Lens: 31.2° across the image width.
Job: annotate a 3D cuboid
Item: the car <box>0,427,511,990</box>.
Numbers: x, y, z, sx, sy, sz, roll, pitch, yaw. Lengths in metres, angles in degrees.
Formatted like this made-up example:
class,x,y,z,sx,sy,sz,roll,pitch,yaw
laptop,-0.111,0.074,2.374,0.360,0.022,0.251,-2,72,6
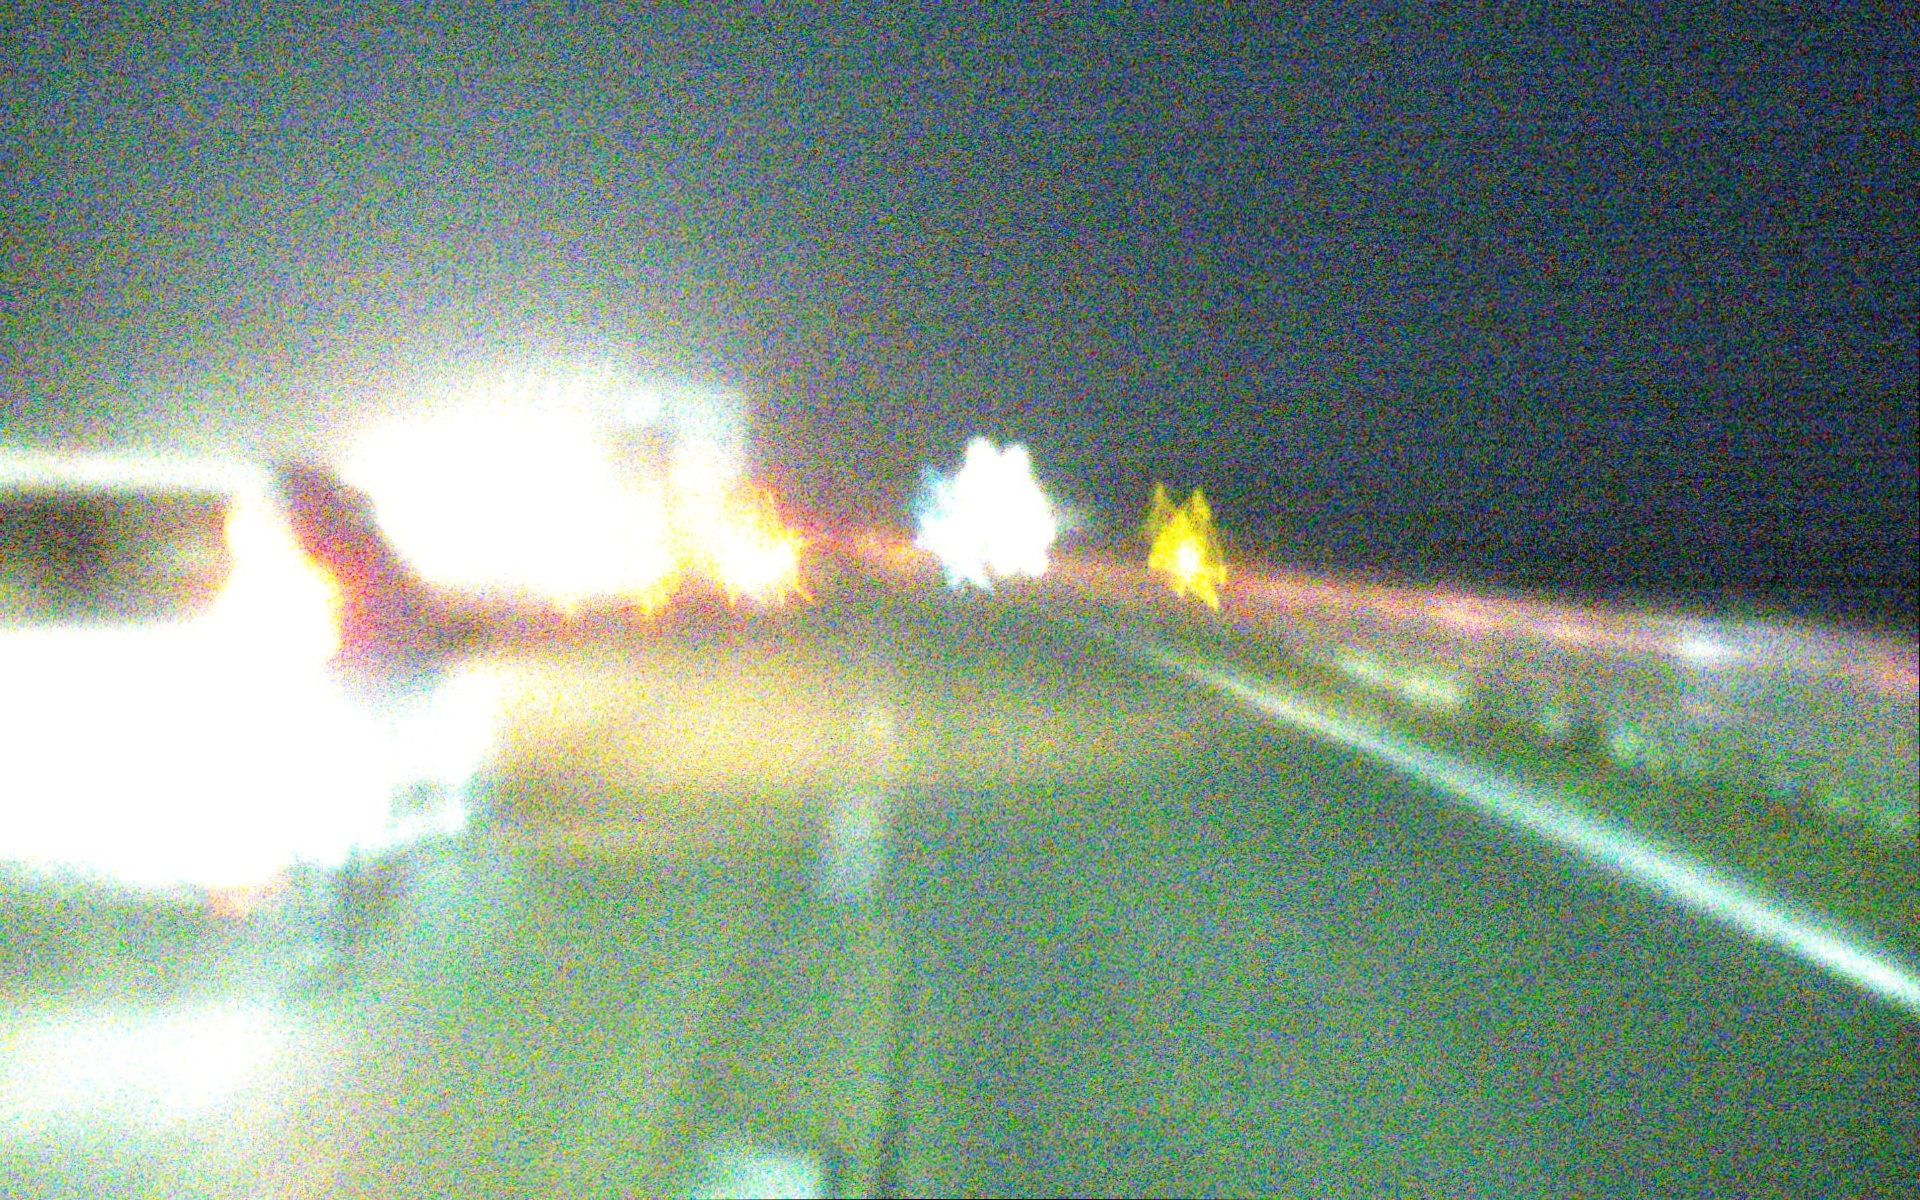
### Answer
class,x,y,z,sx,sy,sz,roll,pitch,yaw
car,-3.110,0.242,13.579,1.953,1.786,5.125,1,2,0

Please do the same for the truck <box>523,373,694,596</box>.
class,x,y,z,sx,sy,sz,roll,pitch,yaw
truck,-9.420,-3.016,93.062,4.166,5.525,13.077,1,1,-5

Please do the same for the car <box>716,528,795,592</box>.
class,x,y,z,sx,sy,sz,roll,pitch,yaw
car,-5.676,-1.115,94.865,1.993,1.701,4.196,1,1,-5

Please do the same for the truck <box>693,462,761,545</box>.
class,x,y,z,sx,sy,sz,roll,pitch,yaw
truck,-14.566,-5.945,214.321,3.823,4.898,11.608,1,1,-5

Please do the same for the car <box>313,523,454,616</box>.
class,x,y,z,sx,sy,sz,roll,pitch,yaw
car,-11.187,-0.607,66.968,1.993,1.701,4.196,1,1,0
